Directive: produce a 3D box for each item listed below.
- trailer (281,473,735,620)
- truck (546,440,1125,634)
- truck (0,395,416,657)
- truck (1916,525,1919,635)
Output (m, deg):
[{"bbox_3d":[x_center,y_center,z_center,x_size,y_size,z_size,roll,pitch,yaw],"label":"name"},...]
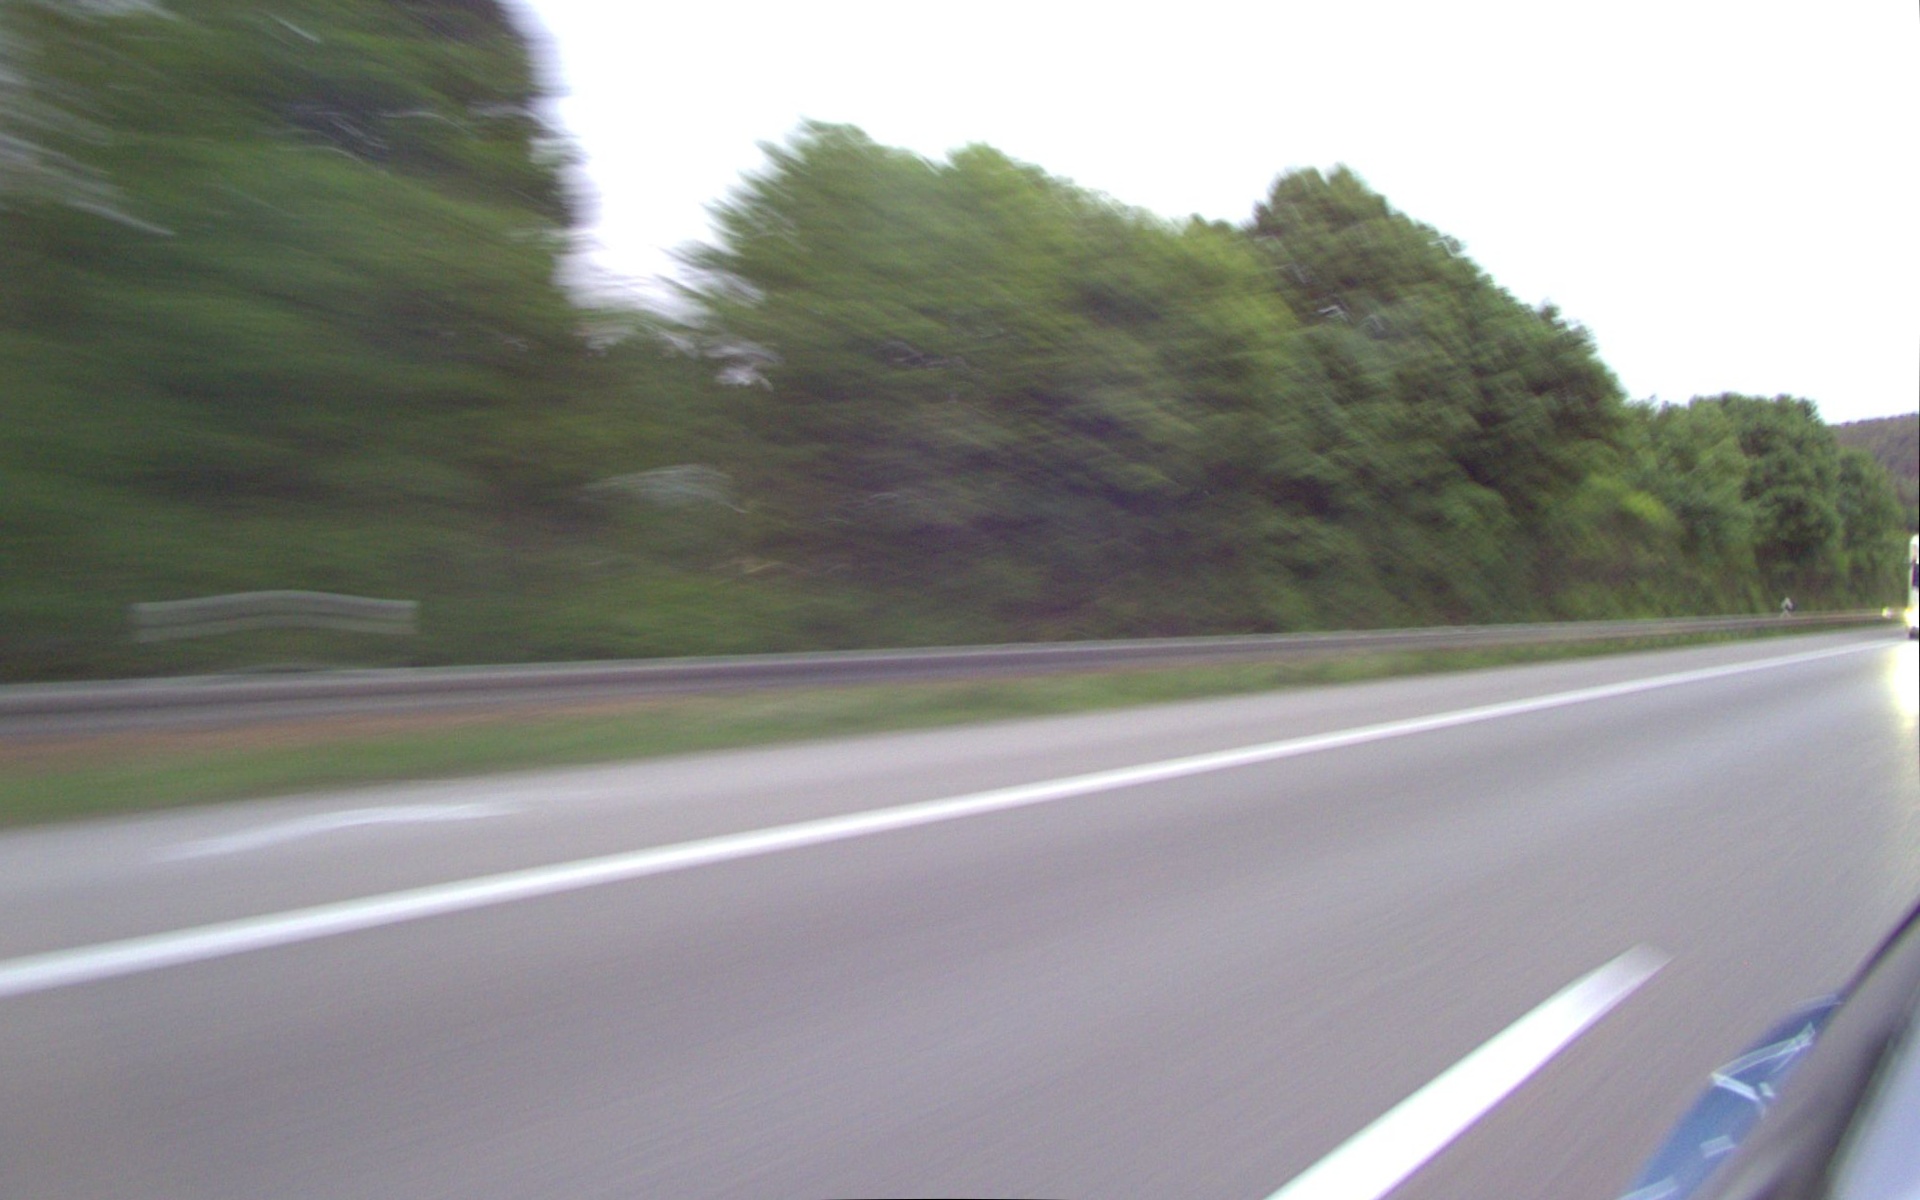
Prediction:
[{"bbox_3d":[-13.949,-1.557,33.000,13.348,3.964,2.842,-1,2,-43],"label":"trailer"},{"bbox_3d":[-2.202,-1.568,30.586,3.776,4.281,19.215,3,2,44],"label":"truck"},{"bbox_3d":[-15.623,-1.173,16.326,2.838,3.964,11.804,2,2,43],"label":"truck"},{"bbox_3d":[38.522,-0.735,38.029,10.203,3.874,2.622,-1,2,-40],"label":"truck"}]
